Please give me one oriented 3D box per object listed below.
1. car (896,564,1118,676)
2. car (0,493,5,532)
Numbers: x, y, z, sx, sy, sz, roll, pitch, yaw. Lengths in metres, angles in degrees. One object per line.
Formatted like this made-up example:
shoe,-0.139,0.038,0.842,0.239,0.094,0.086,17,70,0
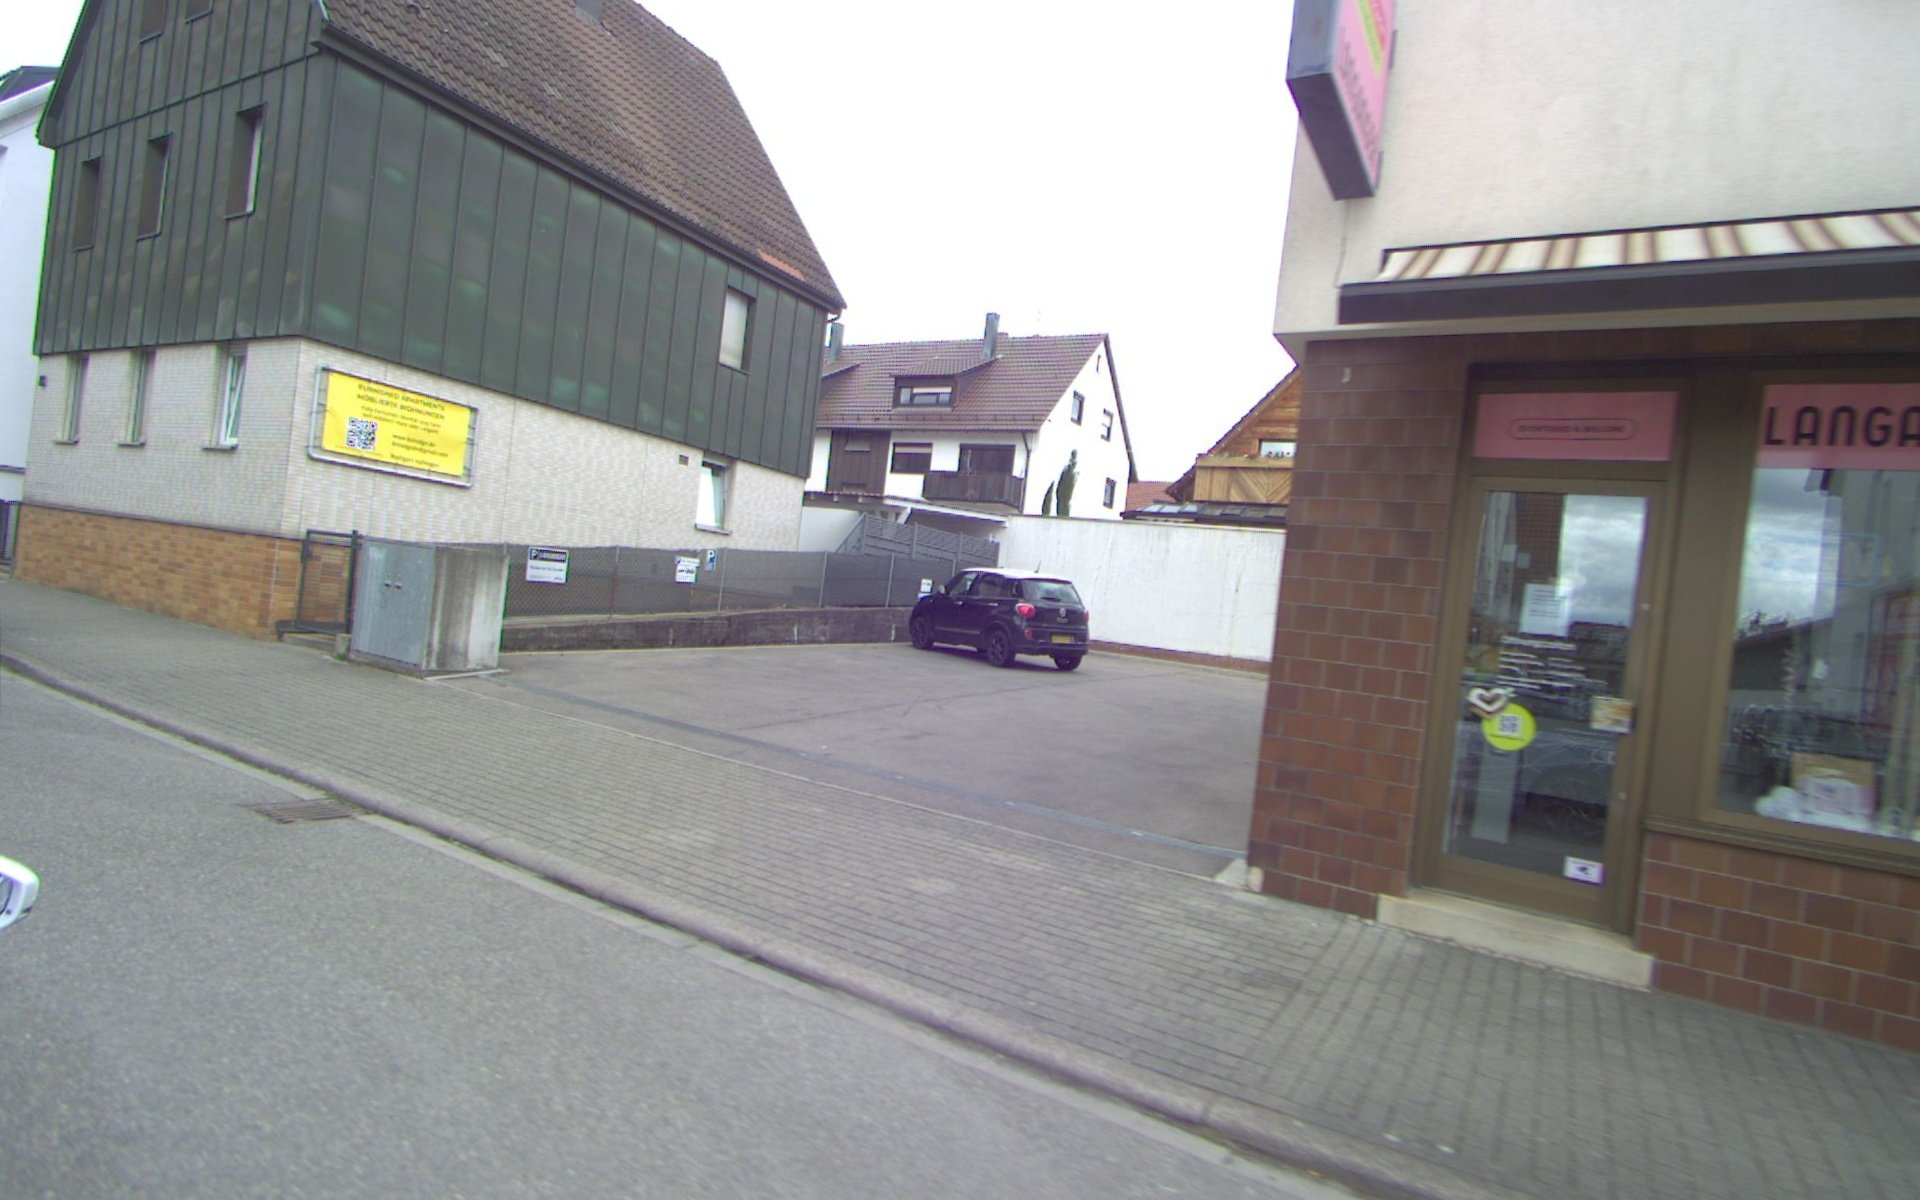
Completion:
car,0.752,0.312,18.518,1.909,1.676,3.959,4,2,-37
car,-11.133,-0.523,9.652,3.927,1.515,1.834,7,-2,32
